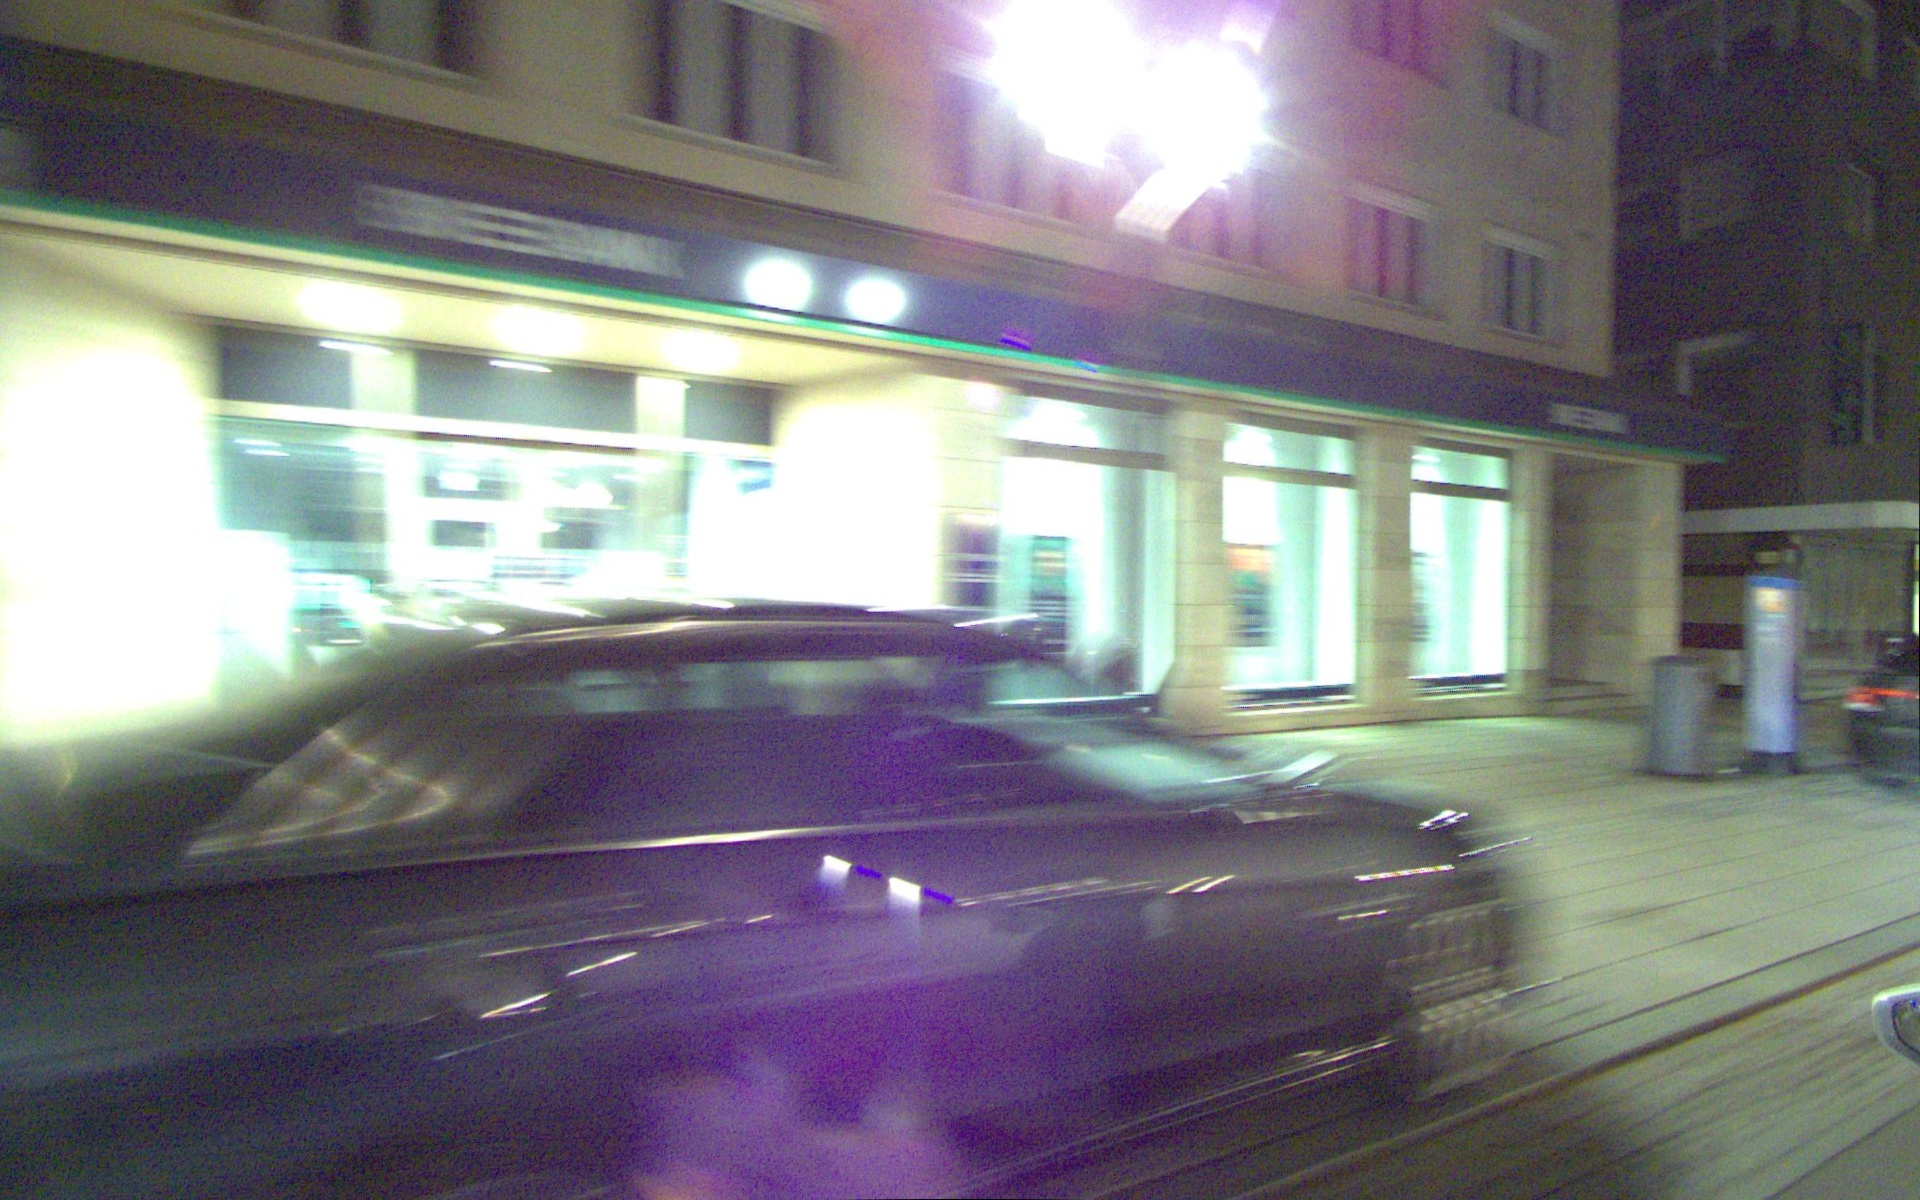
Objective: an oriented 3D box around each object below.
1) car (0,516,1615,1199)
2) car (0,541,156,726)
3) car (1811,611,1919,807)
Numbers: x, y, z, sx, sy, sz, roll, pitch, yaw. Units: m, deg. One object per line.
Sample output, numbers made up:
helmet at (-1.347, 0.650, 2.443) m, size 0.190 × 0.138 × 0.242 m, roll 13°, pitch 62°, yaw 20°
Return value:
car at (-0.221, 0.662, 2.883) m, size 4.477 × 1.490 × 1.888 m, roll 1°, pitch 0°, yaw -33°
car at (-10.420, 0.294, 11.135) m, size 1.750 × 1.805 × 3.409 m, roll -2°, pitch 2°, yaw -29°
car at (9.504, 0.899, 8.694) m, size 4.569 × 1.484 × 1.836 m, roll 1°, pitch 1°, yaw -31°
